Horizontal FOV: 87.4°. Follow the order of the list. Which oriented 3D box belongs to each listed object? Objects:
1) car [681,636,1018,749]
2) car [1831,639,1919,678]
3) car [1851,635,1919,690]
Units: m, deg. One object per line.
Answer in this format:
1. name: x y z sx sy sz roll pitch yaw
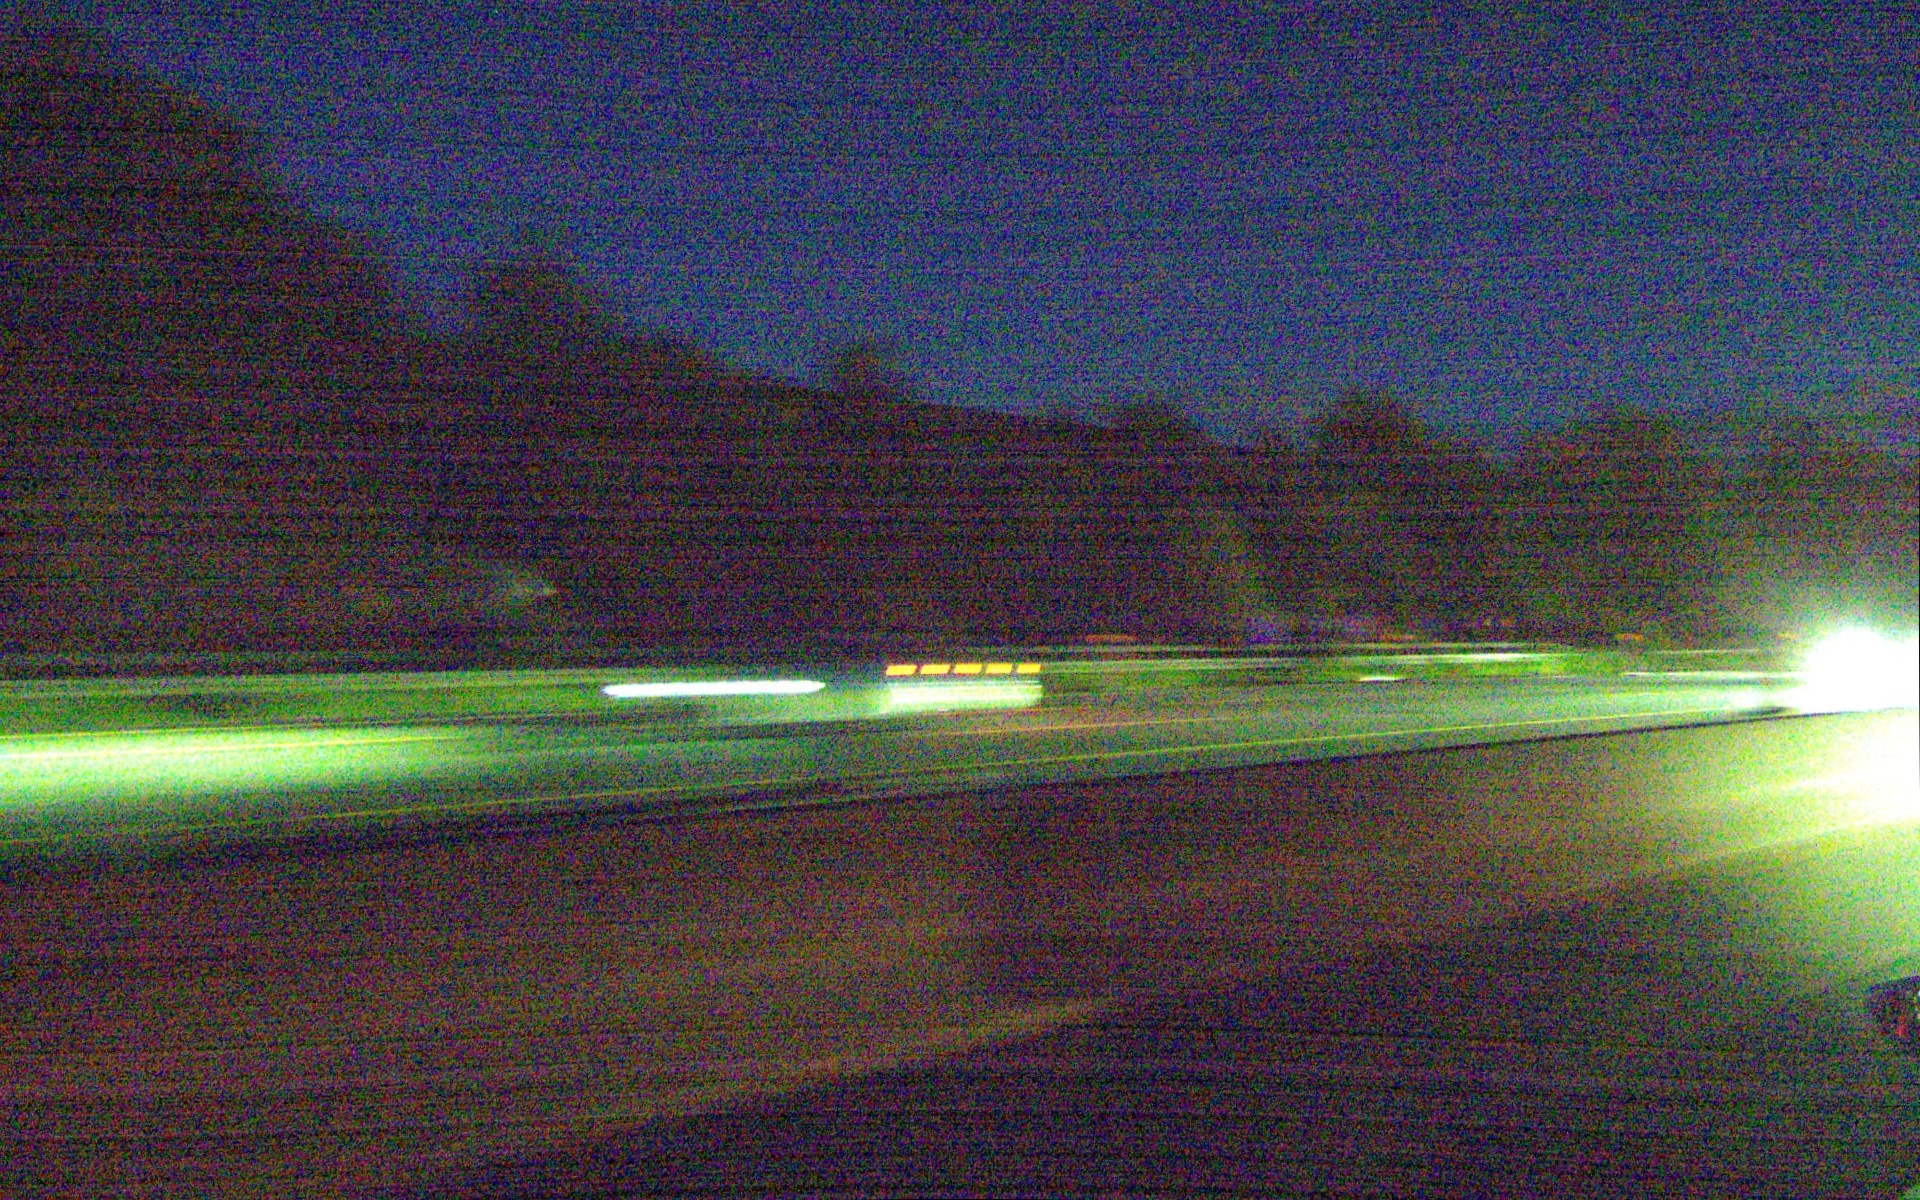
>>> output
1. car: -1.598 1.326 15.408 4.886 1.498 1.742 2 -3 -31
2. car: 37.071 2.338 40.343 4.428 1.498 1.743 2 -3 -30
3. car: 27.867 1.778 29.068 4.707 1.498 1.742 2 -3 -30
